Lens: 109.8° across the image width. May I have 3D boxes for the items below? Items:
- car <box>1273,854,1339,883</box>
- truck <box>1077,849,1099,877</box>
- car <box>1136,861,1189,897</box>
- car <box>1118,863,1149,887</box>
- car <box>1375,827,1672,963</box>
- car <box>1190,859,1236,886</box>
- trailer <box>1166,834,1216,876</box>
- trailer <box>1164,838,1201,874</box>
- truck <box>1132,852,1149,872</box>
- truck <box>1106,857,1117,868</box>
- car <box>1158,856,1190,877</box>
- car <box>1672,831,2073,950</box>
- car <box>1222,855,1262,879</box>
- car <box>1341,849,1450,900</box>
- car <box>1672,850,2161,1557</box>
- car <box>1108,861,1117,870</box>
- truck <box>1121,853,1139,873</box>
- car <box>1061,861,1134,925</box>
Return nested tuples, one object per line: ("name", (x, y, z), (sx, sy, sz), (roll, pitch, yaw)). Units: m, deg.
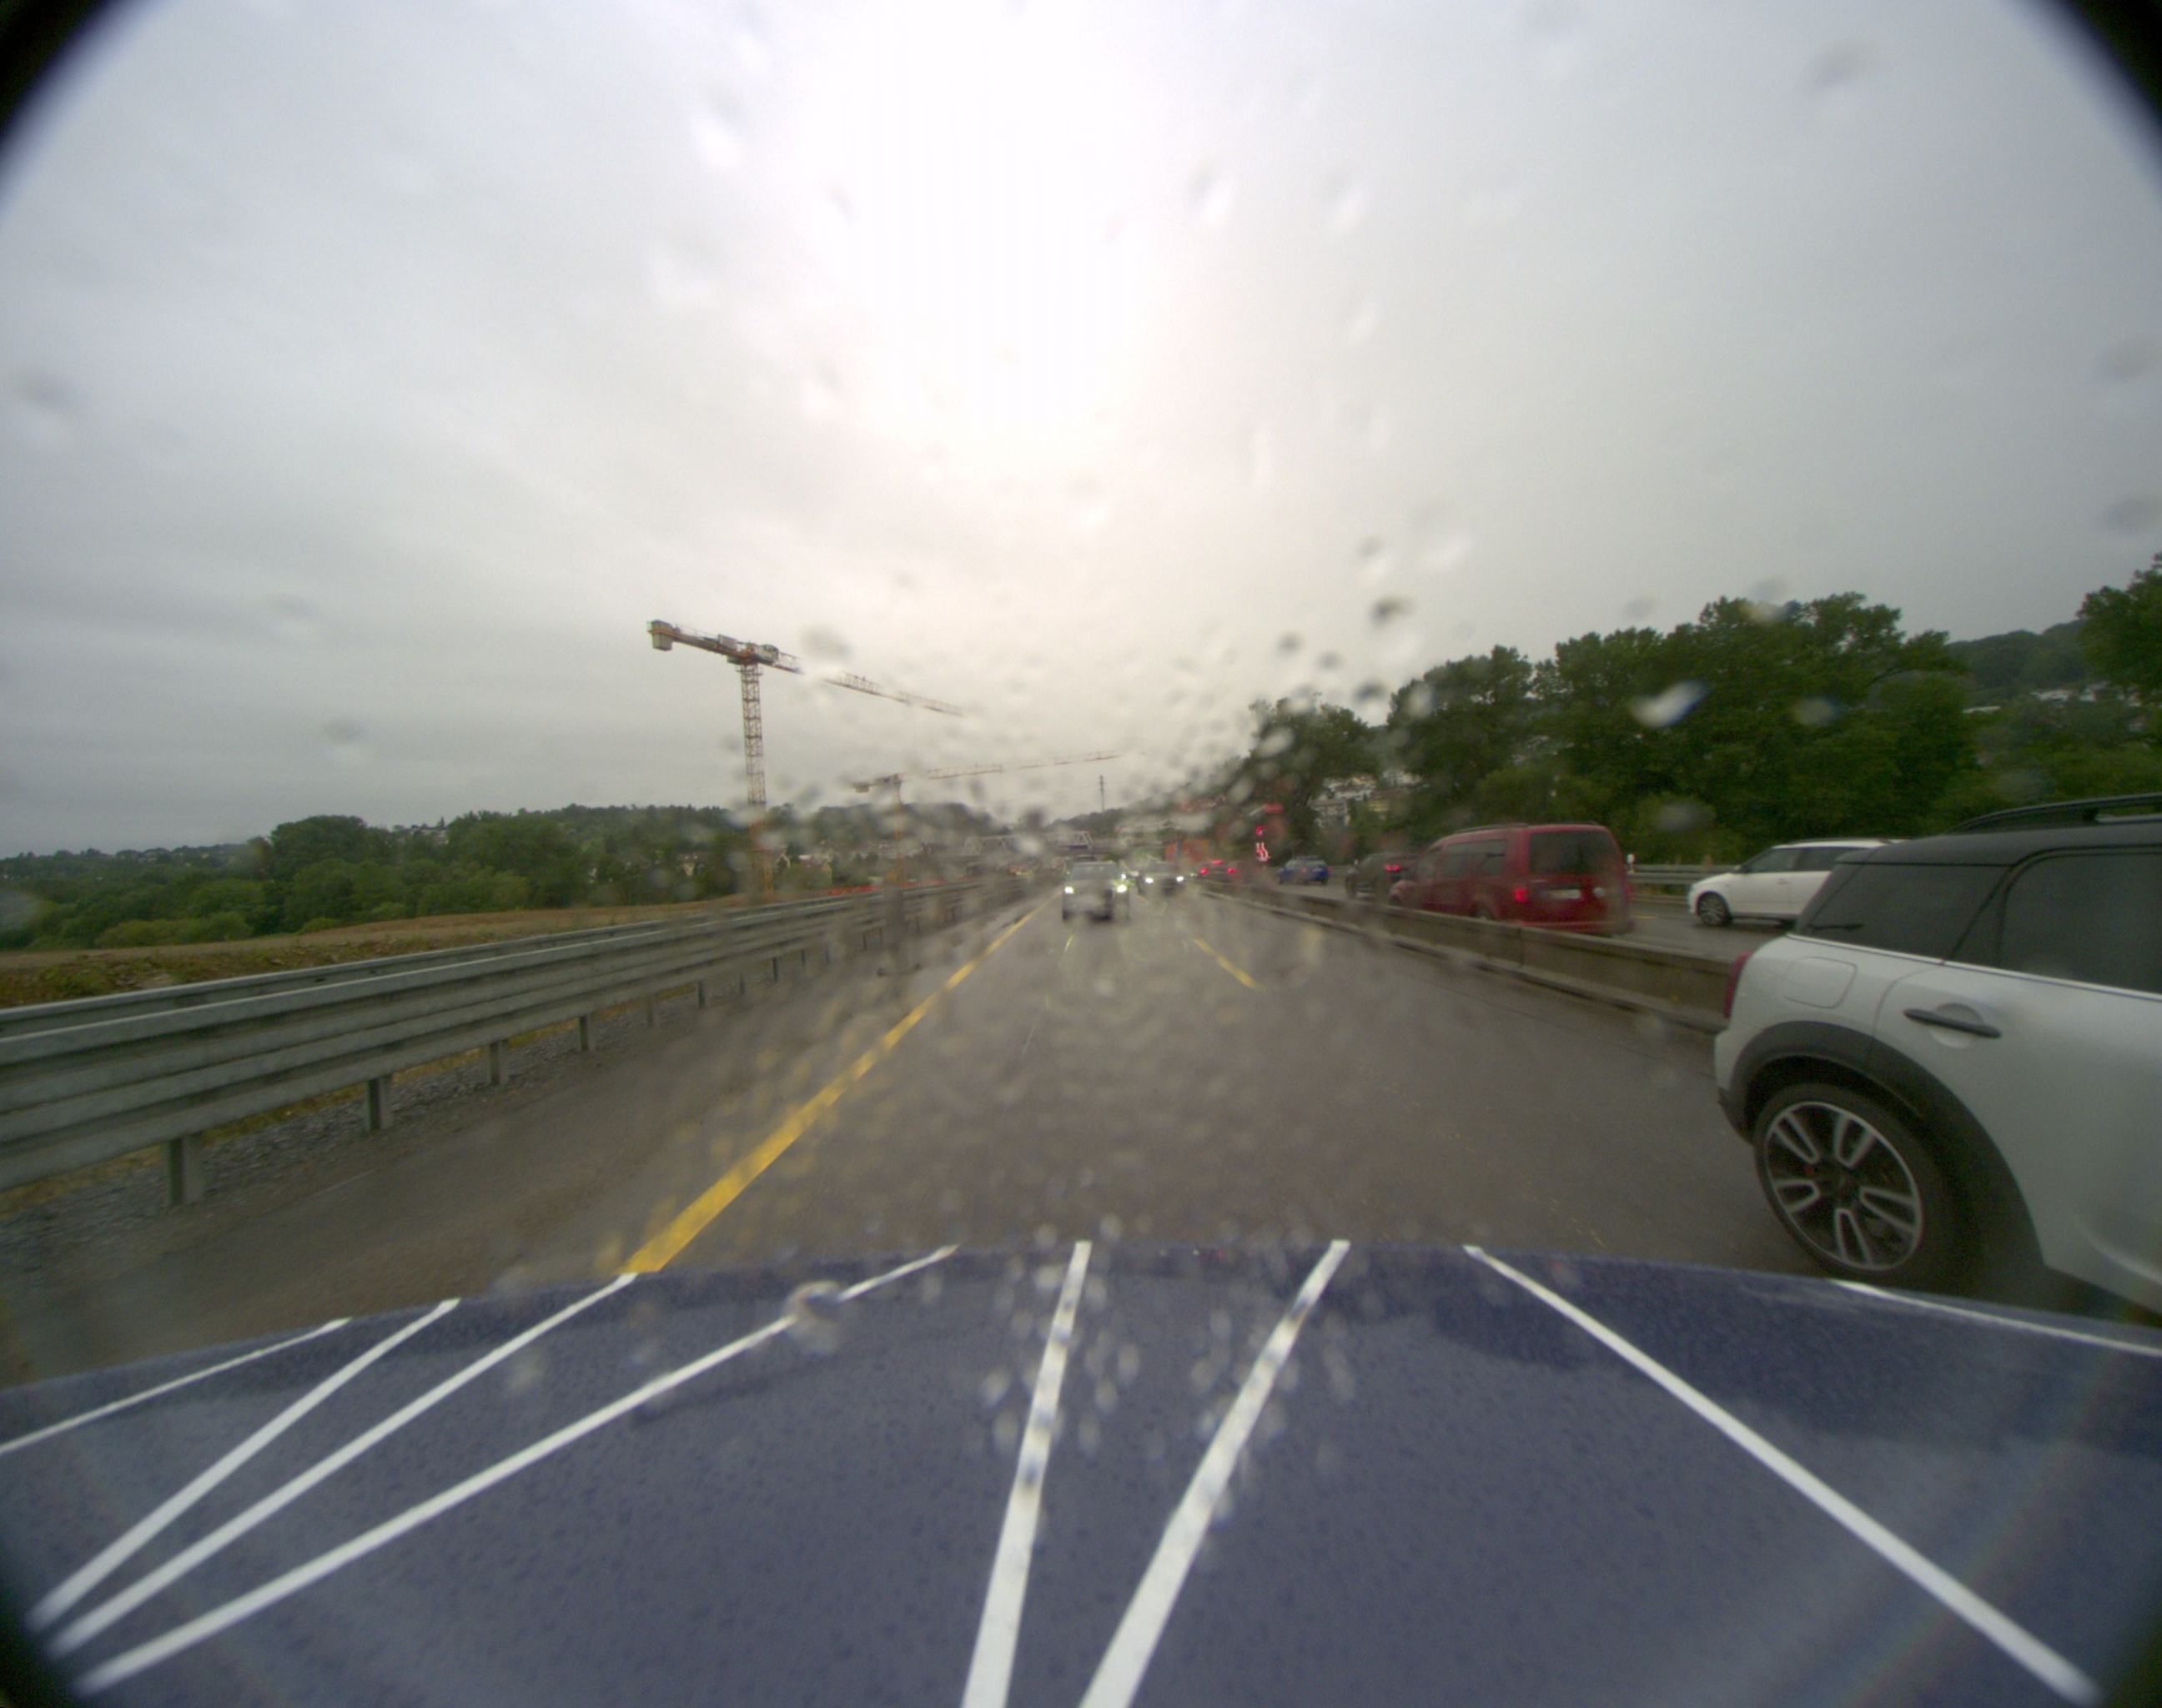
("car", (12.663, 0.818, 43.075), (1.999, 1.501, 4.745), (-2, -1, -5))
("truck", (0.912, 1.136, 99.127), (2.576, 3.450, 6.627), (-2, 0, 1))
("car", (3.654, 1.077, 34.753), (1.951, 1.430, 4.483), (-2, 0, 1))
("car", (3.546, 1.416, 52.126), (1.781, 1.430, 4.483), (-2, 0, 1))
("car", (6.610, 0.571, 12.165), (1.850, 1.737, 4.844), (0, -1, -1))
("car", (7.212, 1.014, 41.927), (1.912, 1.440, 4.412), (0, -1, 1))
("trailer", (11.340, 0.196, 79.767), (3.285, 3.885, 13.701), (-2, -1, 1))
("trailer", (11.456, 0.274, 86.099), (3.278, 3.895, 6.353), (-2, -1, 1))
("truck", (11.355, 1.417, 144.890), (2.607, 3.605, 6.539), (-2, 0, 1))
("truck", (8.561, 2.389, 216.457), (2.800, 2.769, 5.498), (-2, 0, 0))
("car", (7.463, 0.971, 61.485), (1.978, 1.501, 4.745), (-2, 0, 0))
("car", (12.259, 0.525, 12.289), (1.851, 1.567, 4.269), (0, -1, -5))
("car", (10.935, 0.849, 51.998), (1.822, 1.501, 4.306), (-2, 0, 1))
("car", (10.145, 0.663, 24.838), (1.825, 1.487, 4.001), (-2, -1, -1))
("car", (3.379, 0.796, 1.012), (1.820, 1.591, 4.308), (-2, 0, 1))
("car", (7.486, 2.758, 181.720), (2.165, 2.001, 4.479), (0, -1, 1))
("truck", (7.787, 1.451, 121.682), (2.413, 2.976, 6.539), (-2, 0, 1))
("car", (0.443, 0.997, 21.127), (1.781, 1.514, 4.141), (-2, 0, 1))
